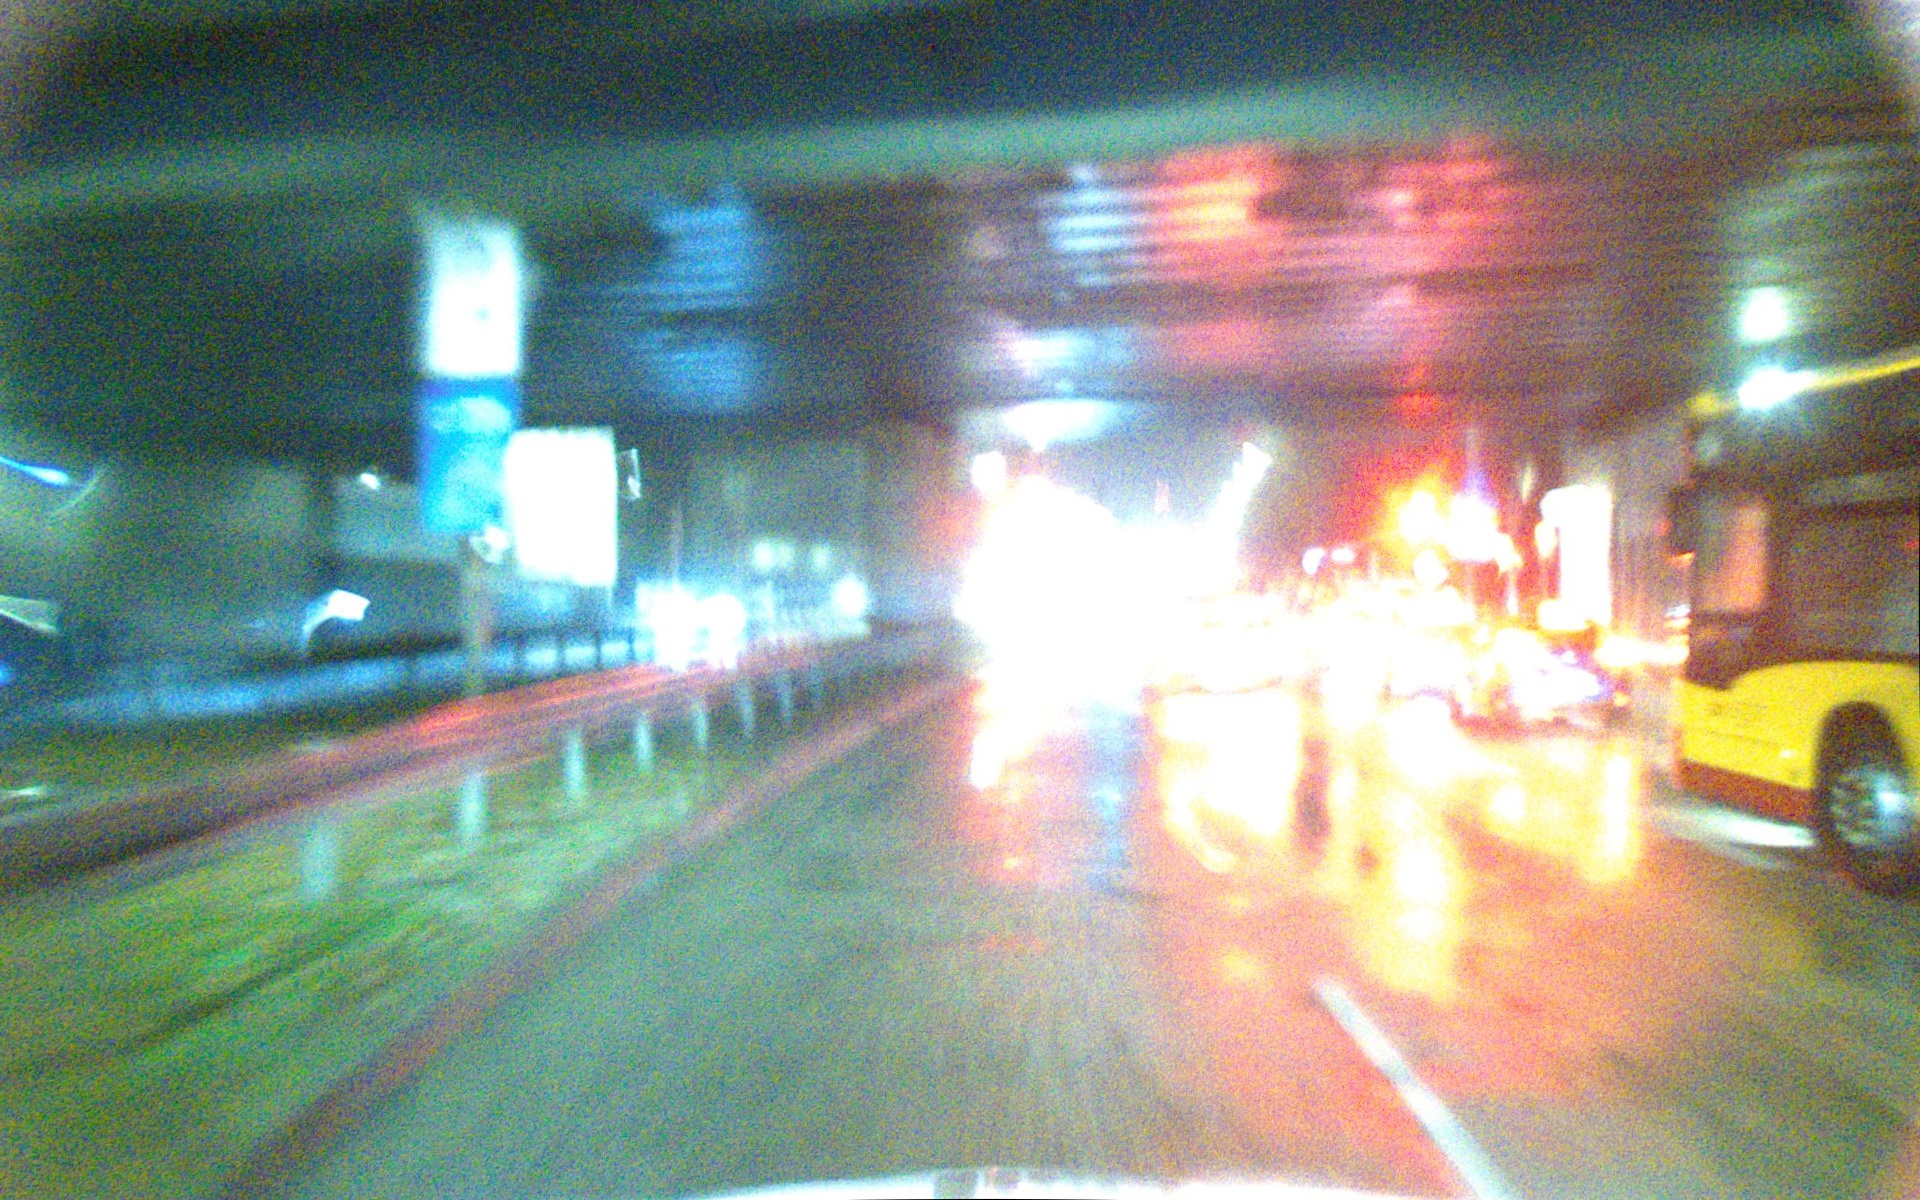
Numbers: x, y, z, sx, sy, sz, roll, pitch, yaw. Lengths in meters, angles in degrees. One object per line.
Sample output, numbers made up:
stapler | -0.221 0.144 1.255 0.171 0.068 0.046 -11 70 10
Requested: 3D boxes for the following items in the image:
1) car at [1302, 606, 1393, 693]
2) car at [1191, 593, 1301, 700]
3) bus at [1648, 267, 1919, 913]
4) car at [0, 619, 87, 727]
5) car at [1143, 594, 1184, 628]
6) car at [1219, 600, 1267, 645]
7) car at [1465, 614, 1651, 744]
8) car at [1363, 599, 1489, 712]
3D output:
car | 8.099 1.001 34.852 1.749 1.713 4.003 0 -1 12
car | 5.055 0.777 28.907 1.749 1.713 4.003 0 -1 12
bus | 6.321 -0.026 7.212 2.981 3.268 9.051 1 0 1
car | -12.697 0.900 20.330 1.817 1.311 4.129 1 -1 -2
car | 10.445 0.566 84.822 1.749 1.713 4.003 0 -1 12
car | 11.353 0.892 66.282 1.749 1.713 4.003 0 -1 12
car | 7.773 0.972 21.826 1.738 1.528 4.003 0 -1 12
car | 7.736 0.853 27.741 1.749 1.713 4.004 0 0 12
